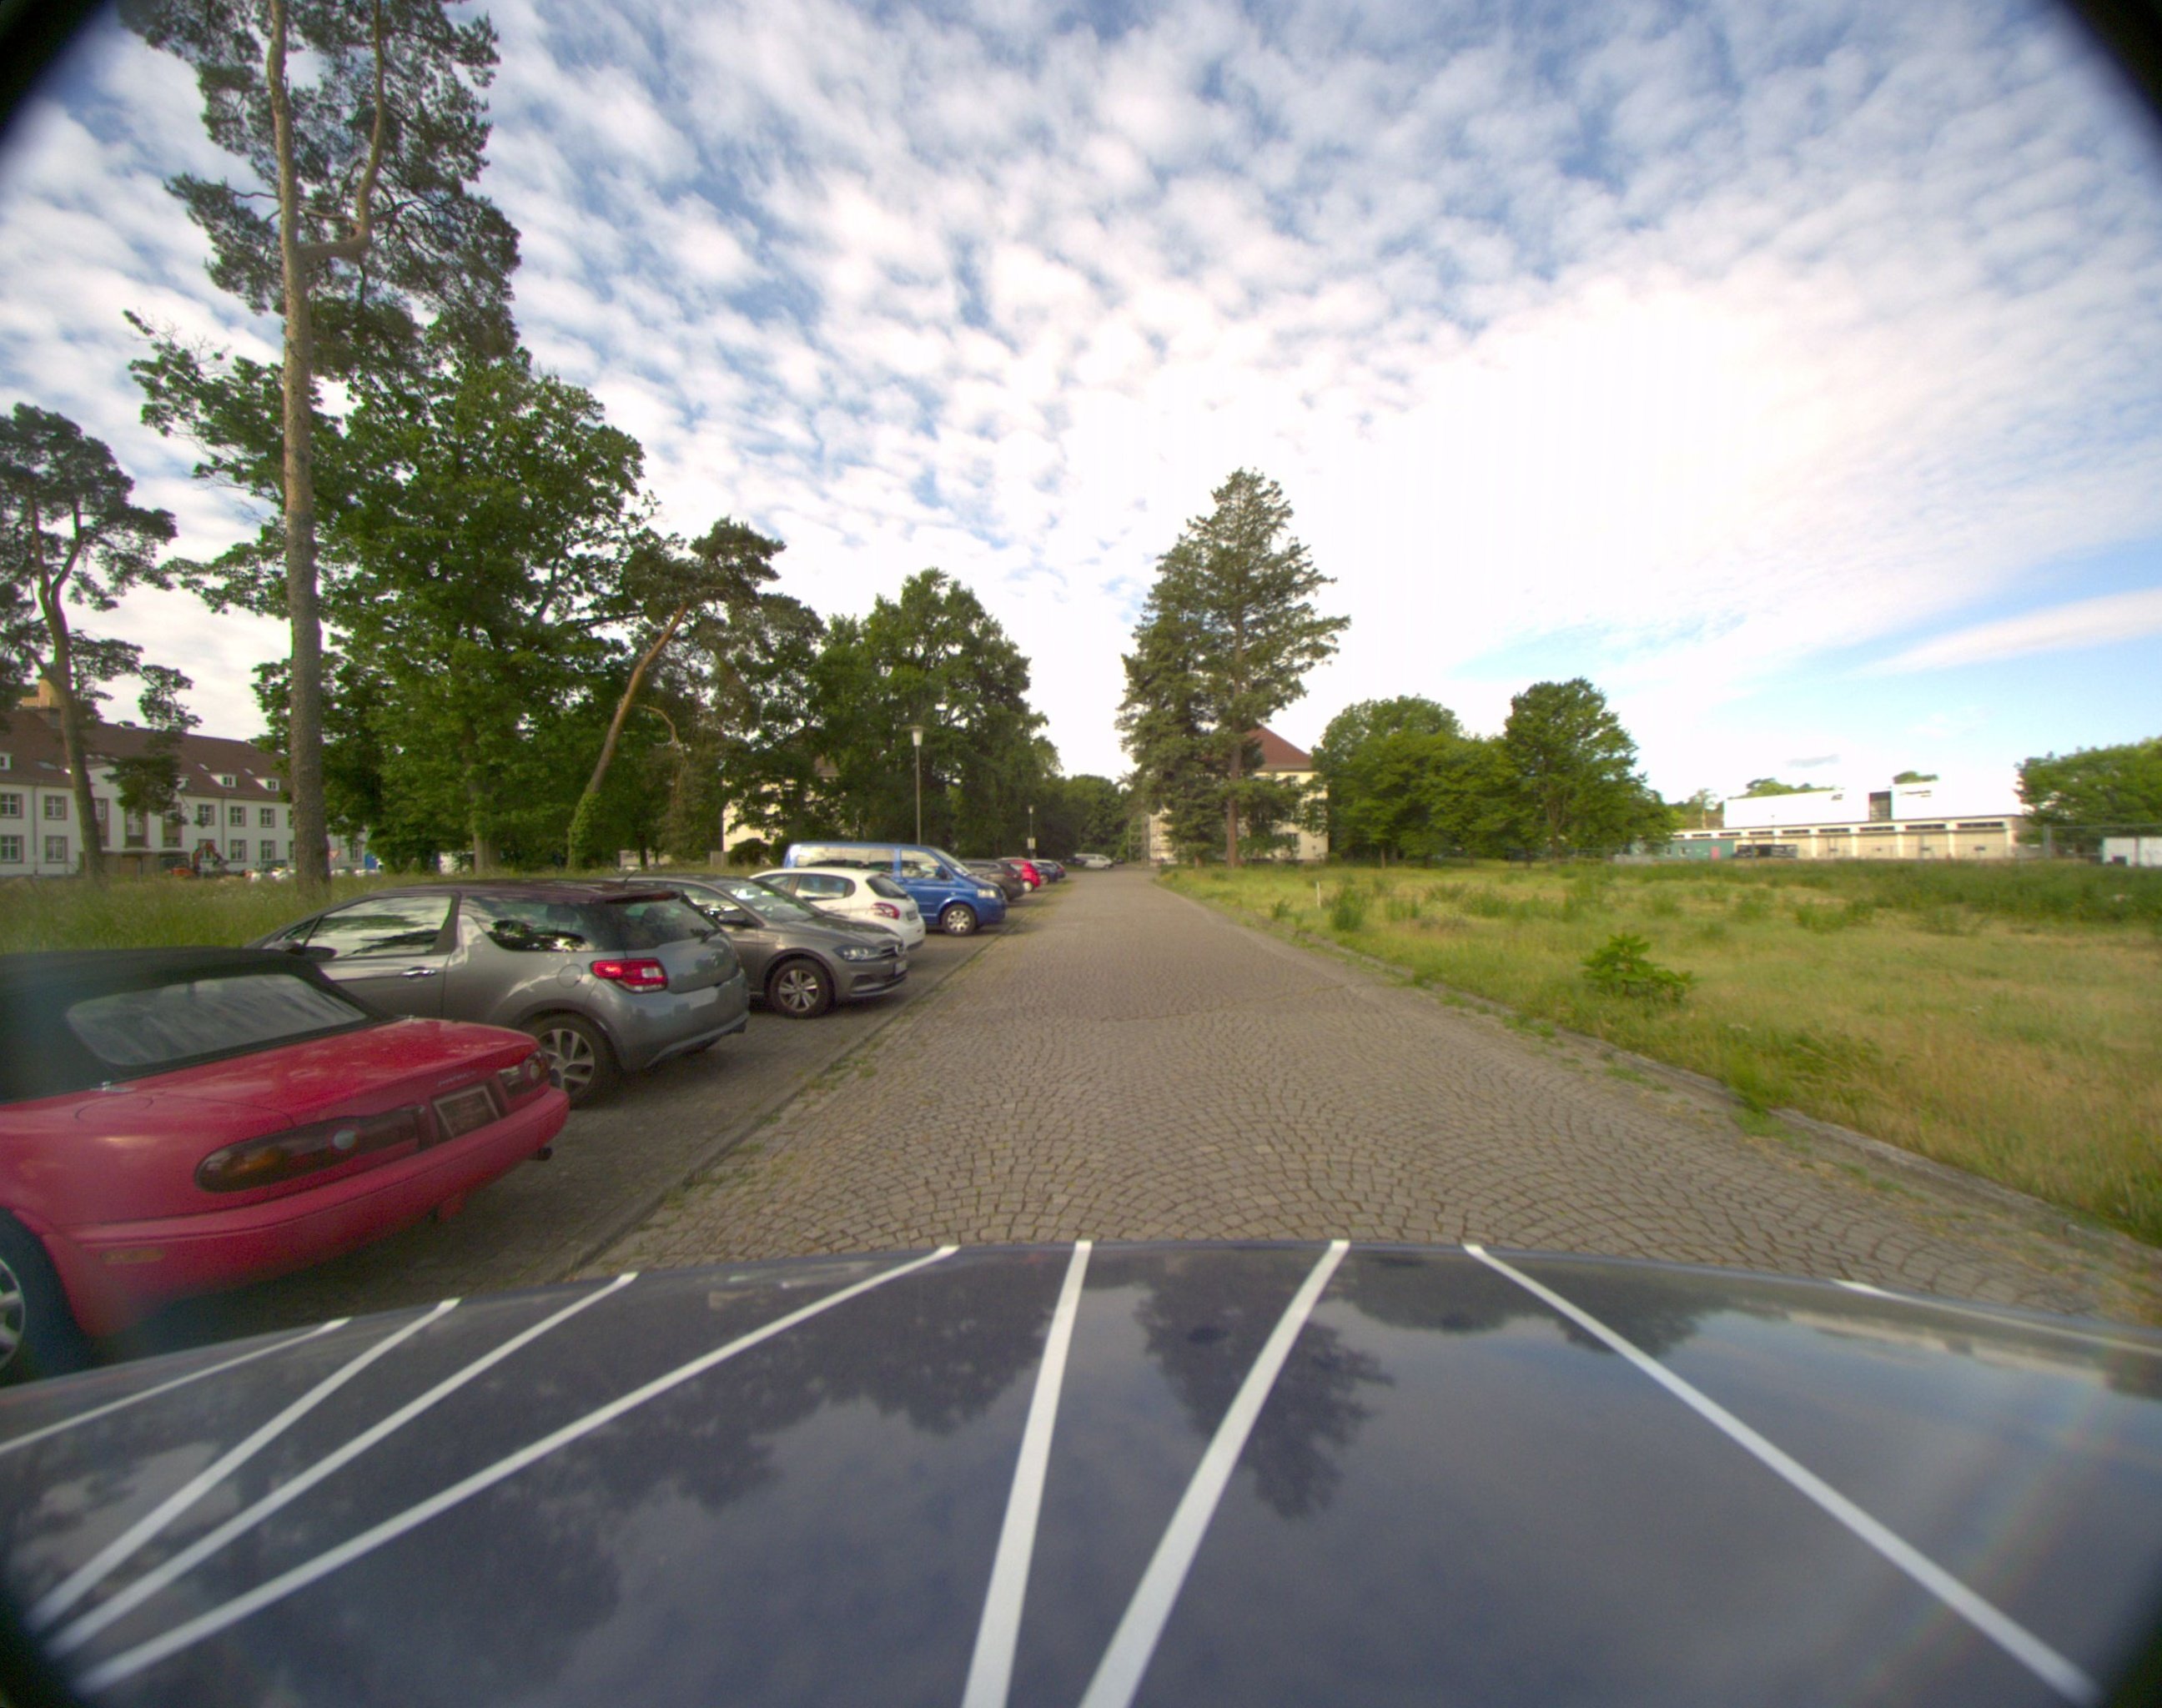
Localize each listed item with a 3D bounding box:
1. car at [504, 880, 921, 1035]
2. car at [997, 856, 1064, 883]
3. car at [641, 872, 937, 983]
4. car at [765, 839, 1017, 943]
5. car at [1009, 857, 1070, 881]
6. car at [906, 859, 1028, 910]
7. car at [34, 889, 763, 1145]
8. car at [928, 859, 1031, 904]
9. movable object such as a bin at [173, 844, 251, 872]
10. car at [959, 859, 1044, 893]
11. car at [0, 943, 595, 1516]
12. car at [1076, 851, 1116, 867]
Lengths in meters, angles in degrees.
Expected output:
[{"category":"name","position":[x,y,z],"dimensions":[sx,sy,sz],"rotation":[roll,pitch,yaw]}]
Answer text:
[{"category":"car","position":[-3.850,1.060,8.346],"dimensions":[3.780,1.457,1.643],"rotation":[-1,0,3]},{"category":"car","position":[-3.020,0.923,46.078],"dimensions":[3.835,1.609,1.582],"rotation":[-1,0,6]},{"category":"car","position":[-4.208,1.040,11.292],"dimensions":[3.761,1.490,1.581],"rotation":[-1,0,3]},{"category":"car","position":[-4.029,0.759,16.714],"dimensions":[4.953,2.011,2.061],"rotation":[1,0,2]},{"category":"car","position":[-2.753,0.990,50.900],"dimensions":[3.835,1.520,1.674],"rotation":[-1,0,6]},{"category":"car","position":[-3.732,0.994,25.357],"dimensions":[3.838,1.592,1.581],"rotation":[-1,0,-2]},{"category":"car","position":[-4.570,1.050,5.496],"dimensions":[3.837,1.494,1.604],"rotation":[-1,0,1]},{"category":"car","position":[-3.728,0.986,28.280],"dimensions":[3.633,1.592,1.581],"rotation":[-1,0,-2]},{"category":"movable object such as a bin","position":[-87.889,0.381,76.963],"dimensions":[1.999,2.752,5.202],"rotation":[-1,0,-3]},{"category":"car","position":[-3.699,1.014,35.739],"dimensions":[3.838,1.516,1.581],"rotation":[-1,0,-2]},{"category":"car","position":[-4.125,1.093,2.854],"dimensions":[3.554,1.279,1.608],"rotation":[-1,2,3]},{"category":"car","position":[1.986,0.695,99.482],"dimensions":[5.129,2.002,1.804],"rotation":[-1,0,0]}]
